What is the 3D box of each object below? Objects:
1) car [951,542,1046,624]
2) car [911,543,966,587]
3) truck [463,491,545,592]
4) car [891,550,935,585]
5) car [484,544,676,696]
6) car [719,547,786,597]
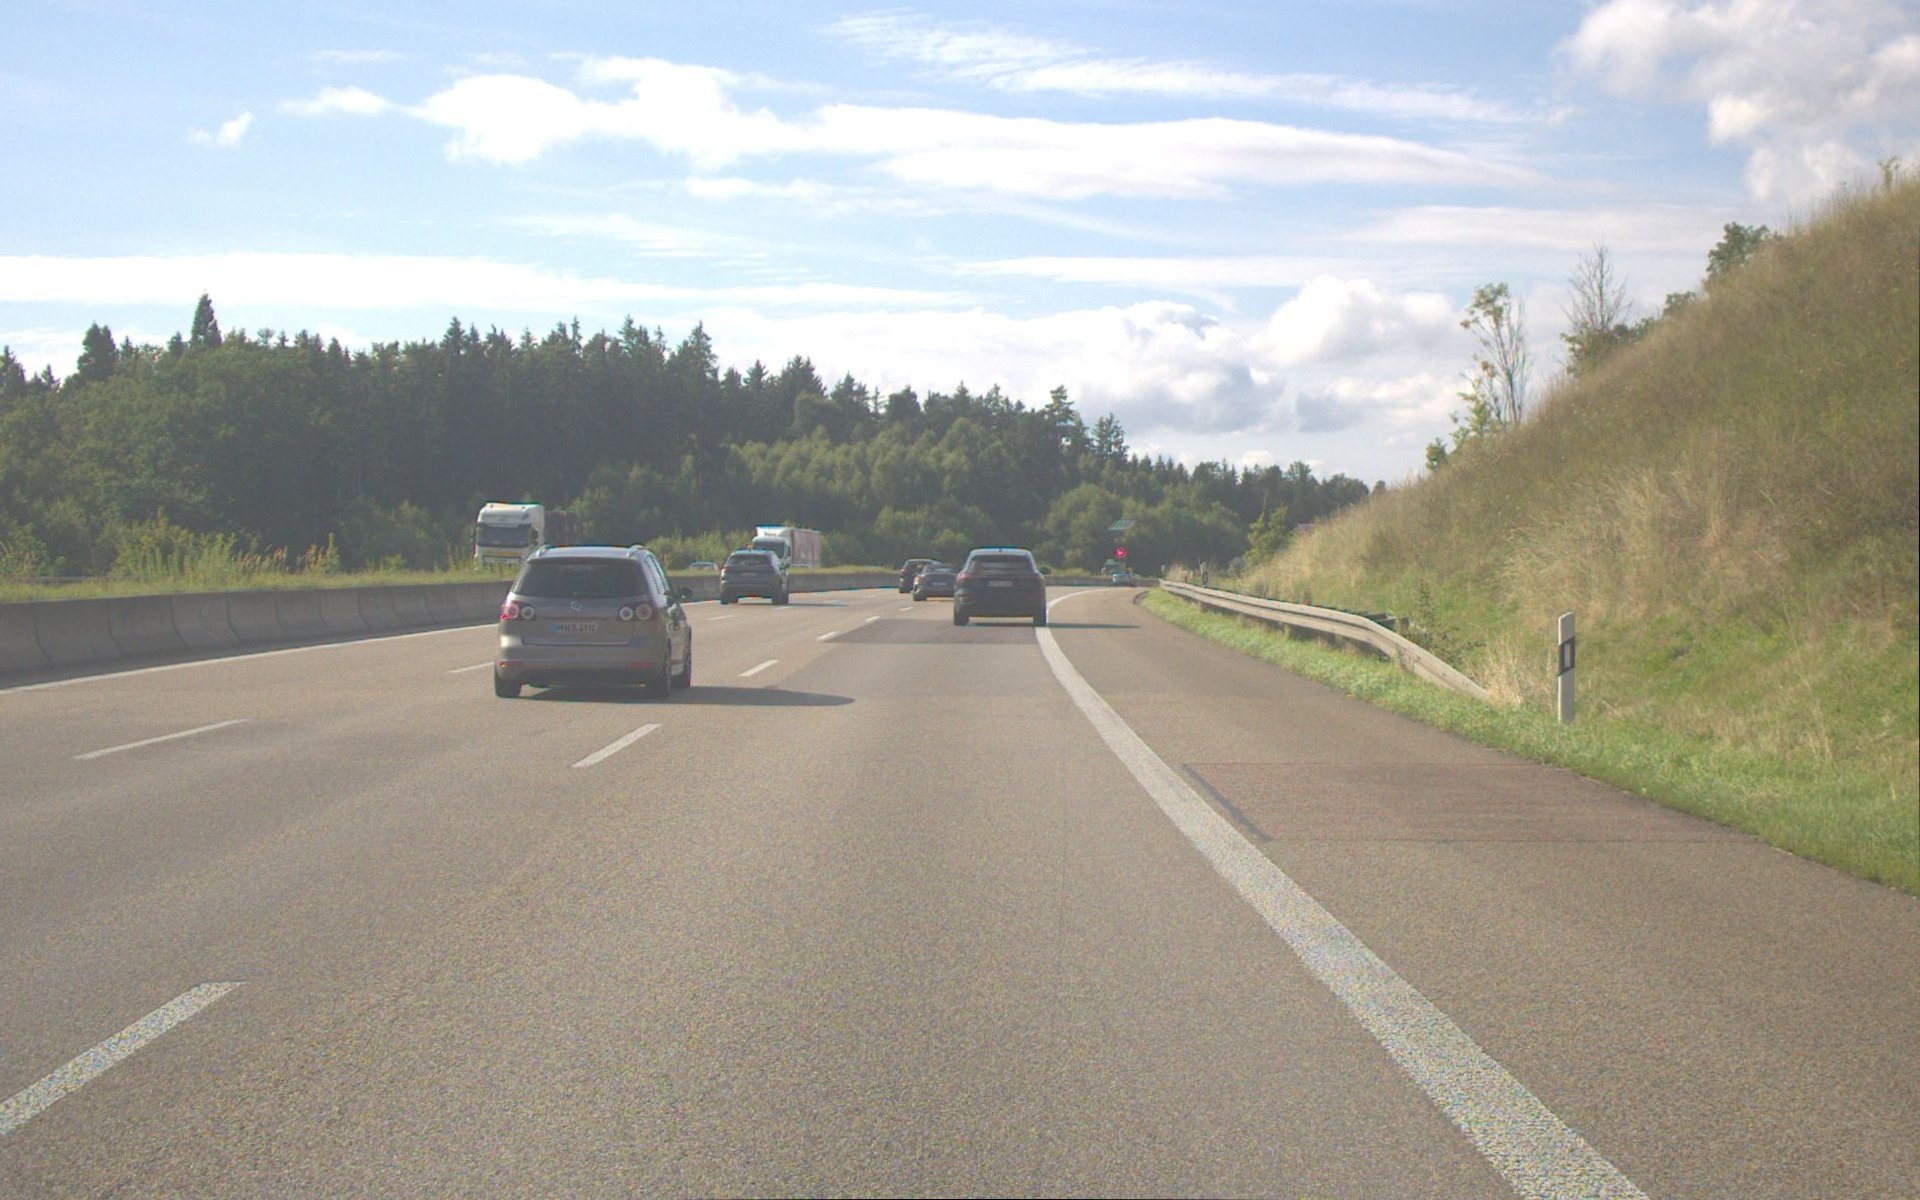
[{"bbox_3d":[0.791,-0.379,72.855,1.873,1.669,3.890,1,1,-1],"label":"car"},{"bbox_3d":[-0.749,-1.226,120.049,1.873,1.492,3.880,1,1,0],"label":"car"},{"bbox_3d":[-20.249,-2.583,153.022,2.802,4.377,5.464,0,1,1],"label":"truck"},{"bbox_3d":[-2.059,-1.455,151.550,1.873,1.492,3.880,1,1,1],"label":"car"},{"bbox_3d":[-3.943,0.169,36.141,1.873,1.492,3.880,1,1,-4],"label":"car"},{"bbox_3d":[-6.352,-0.876,105.425,1.873,1.492,3.880,1,1,-1],"label":"car"}]
